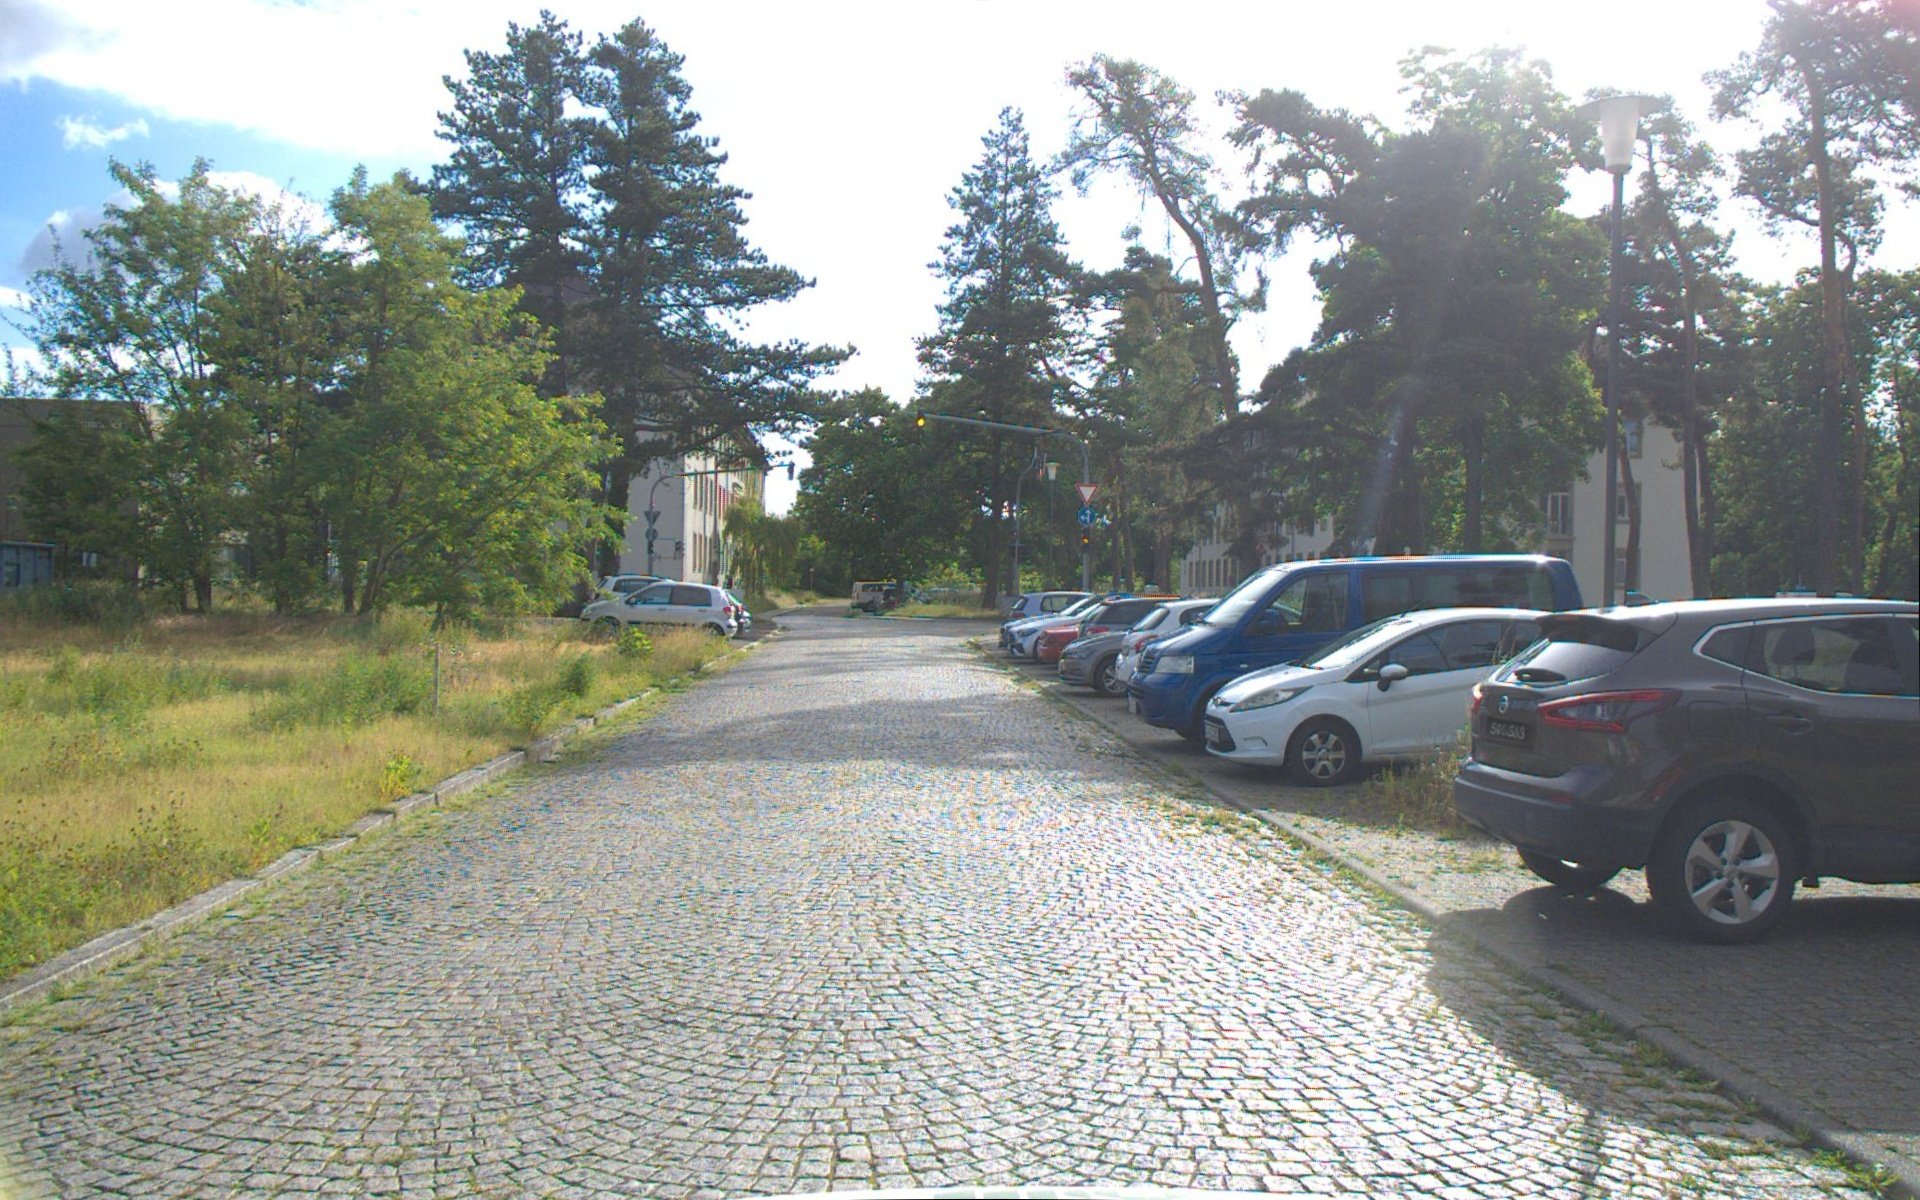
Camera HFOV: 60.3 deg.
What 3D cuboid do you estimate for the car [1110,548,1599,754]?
[{"bbox_3d":[4.058,0.499,17.525,4.640,1.962,1.990,-1,0,-4],"label":"car"}]

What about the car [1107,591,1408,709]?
[{"bbox_3d":[4.042,0.670,22.884,3.797,1.557,1.806,0,0,-3],"label":"car"}]

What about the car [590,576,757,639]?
[{"bbox_3d":[-8.185,0.204,47.596,4.499,1.480,1.901,4,1,-6],"label":"car"}]

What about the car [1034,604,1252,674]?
[{"bbox_3d":[3.406,0.728,31.274,3.872,1.283,1.725,0,0,-3],"label":"car"}]

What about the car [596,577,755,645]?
[{"bbox_3d":[-7.250,0.279,42.414,3.754,1.454,1.857,4,-1,-5],"label":"car"}]

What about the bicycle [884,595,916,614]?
[{"bbox_3d":[-3.382,0.253,93.078,1.758,1.016,0.643,0,1,-5],"label":"bicycle"}]

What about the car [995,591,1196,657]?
[{"bbox_3d":[3.132,0.556,38.694,4.421,1.499,1.892,0,0,-8],"label":"car"}]

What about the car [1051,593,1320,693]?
[{"bbox_3d":[3.440,0.646,25.707,3.872,1.493,1.829,0,0,-3],"label":"car"}]

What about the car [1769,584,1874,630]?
[{"bbox_3d":[50.779,0.392,97.586,5.055,2.580,2.263,1,0,-2],"label":"car"}]

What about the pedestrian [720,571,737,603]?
[{"bbox_3d":[-14.497,-0.794,103.697,0.966,1.998,0.932,1,-1,-4],"label":"pedestrian"}]

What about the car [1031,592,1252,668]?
[{"bbox_3d":[3.652,0.599,33.672,4.255,1.499,1.738,0,0,-4],"label":"car"}]

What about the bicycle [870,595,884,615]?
[{"bbox_3d":[-4.448,0.252,88.390,0.713,1.016,1.798,0,1,-3],"label":"bicycle"}]

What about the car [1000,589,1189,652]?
[{"bbox_3d":[3.321,0.502,41.336,4.455,1.531,1.931,0,0,-6],"label":"car"}]

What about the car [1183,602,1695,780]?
[{"bbox_3d":[4.256,0.770,15.022,4.111,1.495,1.805,0,0,-7],"label":"car"}]

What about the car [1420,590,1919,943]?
[{"bbox_3d":[4.741,0.769,8.689,4.108,1.616,1.876,0,0,-5],"label":"car"}]

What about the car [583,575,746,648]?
[{"bbox_3d":[-7.057,0.273,39.767,3.612,1.499,1.847,4,-1,-5],"label":"car"}]

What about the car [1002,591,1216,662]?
[{"bbox_3d":[3.187,0.571,35.915,4.417,1.499,1.848,0,0,-4],"label":"car"}]

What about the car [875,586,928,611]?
[{"bbox_3d":[-3.696,-0.099,104.423,2.983,1.491,1.712,1,-1,-16],"label":"car"}]

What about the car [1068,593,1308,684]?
[{"bbox_3d":[3.895,0.647,28.664,3.872,1.521,1.771,0,0,-3],"label":"car"}]

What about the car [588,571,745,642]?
[{"bbox_3d":[-7.946,0.181,45.066,4.045,1.627,1.855,4,-1,-8],"label":"car"}]

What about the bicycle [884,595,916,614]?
[{"bbox_3d":[-3.319,0.249,92.060,1.758,1.016,0.643,0,1,-5],"label":"bicycle"}]

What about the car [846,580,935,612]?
[{"bbox_3d":[-4.561,-0.231,107.938,5.414,1.949,2.243,1,0,-18],"label":"car"}]
